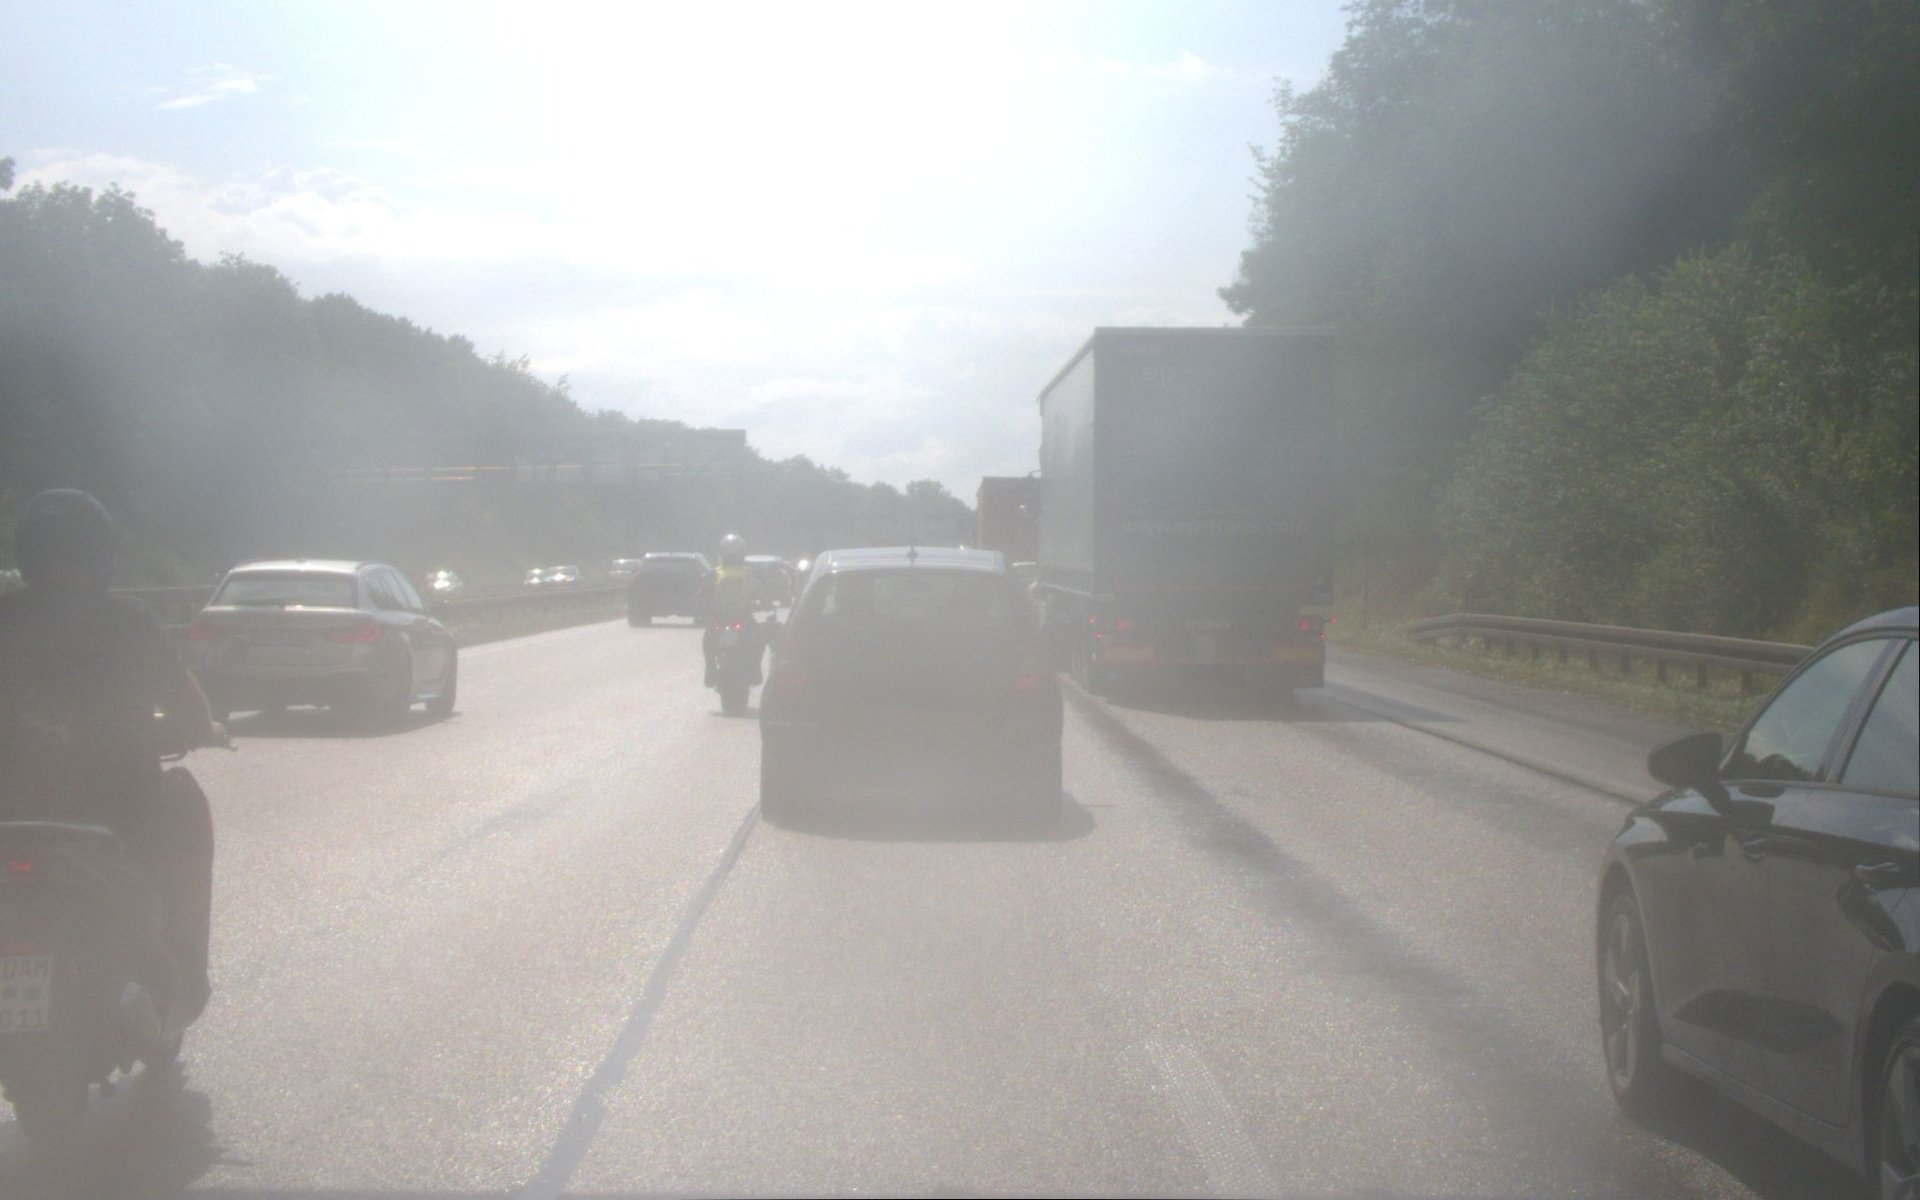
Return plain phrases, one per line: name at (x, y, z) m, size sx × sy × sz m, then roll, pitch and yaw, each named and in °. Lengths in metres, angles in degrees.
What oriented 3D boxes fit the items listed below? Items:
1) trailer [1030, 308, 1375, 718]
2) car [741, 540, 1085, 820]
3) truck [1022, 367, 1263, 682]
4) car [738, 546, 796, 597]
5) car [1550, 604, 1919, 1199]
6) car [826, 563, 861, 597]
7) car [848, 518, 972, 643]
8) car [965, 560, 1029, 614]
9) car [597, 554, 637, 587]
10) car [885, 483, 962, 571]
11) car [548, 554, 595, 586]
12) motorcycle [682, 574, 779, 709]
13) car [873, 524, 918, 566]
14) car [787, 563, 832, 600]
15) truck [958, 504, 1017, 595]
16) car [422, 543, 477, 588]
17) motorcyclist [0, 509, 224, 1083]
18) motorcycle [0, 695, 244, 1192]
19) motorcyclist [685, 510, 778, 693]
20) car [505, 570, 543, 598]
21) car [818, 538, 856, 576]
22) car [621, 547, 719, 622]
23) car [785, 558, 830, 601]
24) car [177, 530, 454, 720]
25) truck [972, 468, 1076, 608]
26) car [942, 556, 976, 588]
trailer at (2.700, -0.989, 43.284) m, size 3.088 × 4.298 × 14.106 m, roll 0°, pitch 1°, yaw -1°
car at (-0.298, 0.425, 21.428) m, size 1.915 × 1.560 × 4.314 m, roll 0°, pitch 1°, yaw -1°
truck at (2.571, -1.083, 50.506) m, size 3.052 × 4.310 × 5.886 m, roll 1°, pitch 1°, yaw -1°
car at (-6.122, -0.905, 109.333) m, size 1.675 × 1.591 × 3.437 m, roll 0°, pitch 1°, yaw -1°
car at (2.651, 0.738, 7.920) m, size 1.755 × 1.391 × 4.368 m, roll 0°, pitch 1°, yaw -1°
car at (-6.995, -1.201, 206.121) m, size 1.993 × 2.007 × 4.000 m, roll 1°, pitch 0°, yaw -1°
car at (-0.853, -0.334, 57.817) m, size 1.993 × 2.007 × 4.000 m, roll 1°, pitch 0°, yaw -1°
car at (1.007, -0.375, 95.907) m, size 1.675 × 1.485 × 3.437 m, roll 0°, pitch 1°, yaw -1°
car at (-20.043, -1.740, 201.148) m, size 1.924 × 1.905 × 4.289 m, roll -1°, pitch 1°, yaw 0°
car at (-0.841, -1.634, 77.667) m, size 1.675 × 1.929 × 3.773 m, roll 0°, pitch 1°, yaw -1°
car at (-19.225, -1.498, 170.279) m, size 1.921 × 1.575 × 4.000 m, roll -1°, pitch 1°, yaw -1°
motorcycle at (-2.247, 0.387, 33.863) m, size 0.819 × 1.258 × 2.117 m, roll 1°, pitch 1°, yaw -1°
car at (-2.355, -2.007, 125.711) m, size 1.631 × 1.485 × 3.437 m, roll 0°, pitch 1°, yaw -1°
car at (-6.042, -0.757, 138.206) m, size 1.675 × 1.485 × 3.437 m, roll 0°, pitch 1°, yaw -1°
truck at (1.417, -2.627, 183.612) m, size 2.882 × 4.671 × 12.659 m, roll 1°, pitch 0°, yaw -1°
car at (-23.501, -1.604, 158.305) m, size 1.993 × 2.007 × 4.000 m, roll 2°, pitch 1°, yaw -1°
motorcyclist at (-2.377, 0.489, 9.123) m, size 0.670 × 1.437 × 1.020 m, roll 1°, pitch 0°, yaw -4°
motorcycle at (-2.383, 0.839, 9.084) m, size 0.676 × 1.083 × 1.982 m, roll 1°, pitch 1°, yaw -4°
motorcyclist at (-2.244, 0.009, 33.910) m, size 0.821 × 1.755 × 1.390 m, roll 1°, pitch 0°, yaw -1°
car at (-23.843, -0.896, 188.035) m, size 1.631 × 1.477 × 3.786 m, roll 0°, pitch 1°, yaw 0°
car at (-6.614, -2.326, 185.196) m, size 1.993 × 2.007 × 4.000 m, roll 1°, pitch 0°, yaw -1°
car at (-6.456, -0.359, 76.945) m, size 1.893 × 1.622 × 4.195 m, roll 0°, pitch 1°, yaw -1°
car at (-7.285, -0.996, 164.297) m, size 1.993 × 2.007 × 4.000 m, roll 1°, pitch 0°, yaw -1°
car at (-5.760, 0.186, 31.180) m, size 1.758 × 1.589 × 4.331 m, roll 0°, pitch 1°, yaw -1°
truck at (2.035, -2.001, 113.058) m, size 3.202 × 4.389 × 9.432 m, roll 0°, pitch 1°, yaw 0°
car at (-0.086, -1.755, 215.838) m, size 1.993 × 2.007 × 4.000 m, roll 1°, pitch 0°, yaw -1°
